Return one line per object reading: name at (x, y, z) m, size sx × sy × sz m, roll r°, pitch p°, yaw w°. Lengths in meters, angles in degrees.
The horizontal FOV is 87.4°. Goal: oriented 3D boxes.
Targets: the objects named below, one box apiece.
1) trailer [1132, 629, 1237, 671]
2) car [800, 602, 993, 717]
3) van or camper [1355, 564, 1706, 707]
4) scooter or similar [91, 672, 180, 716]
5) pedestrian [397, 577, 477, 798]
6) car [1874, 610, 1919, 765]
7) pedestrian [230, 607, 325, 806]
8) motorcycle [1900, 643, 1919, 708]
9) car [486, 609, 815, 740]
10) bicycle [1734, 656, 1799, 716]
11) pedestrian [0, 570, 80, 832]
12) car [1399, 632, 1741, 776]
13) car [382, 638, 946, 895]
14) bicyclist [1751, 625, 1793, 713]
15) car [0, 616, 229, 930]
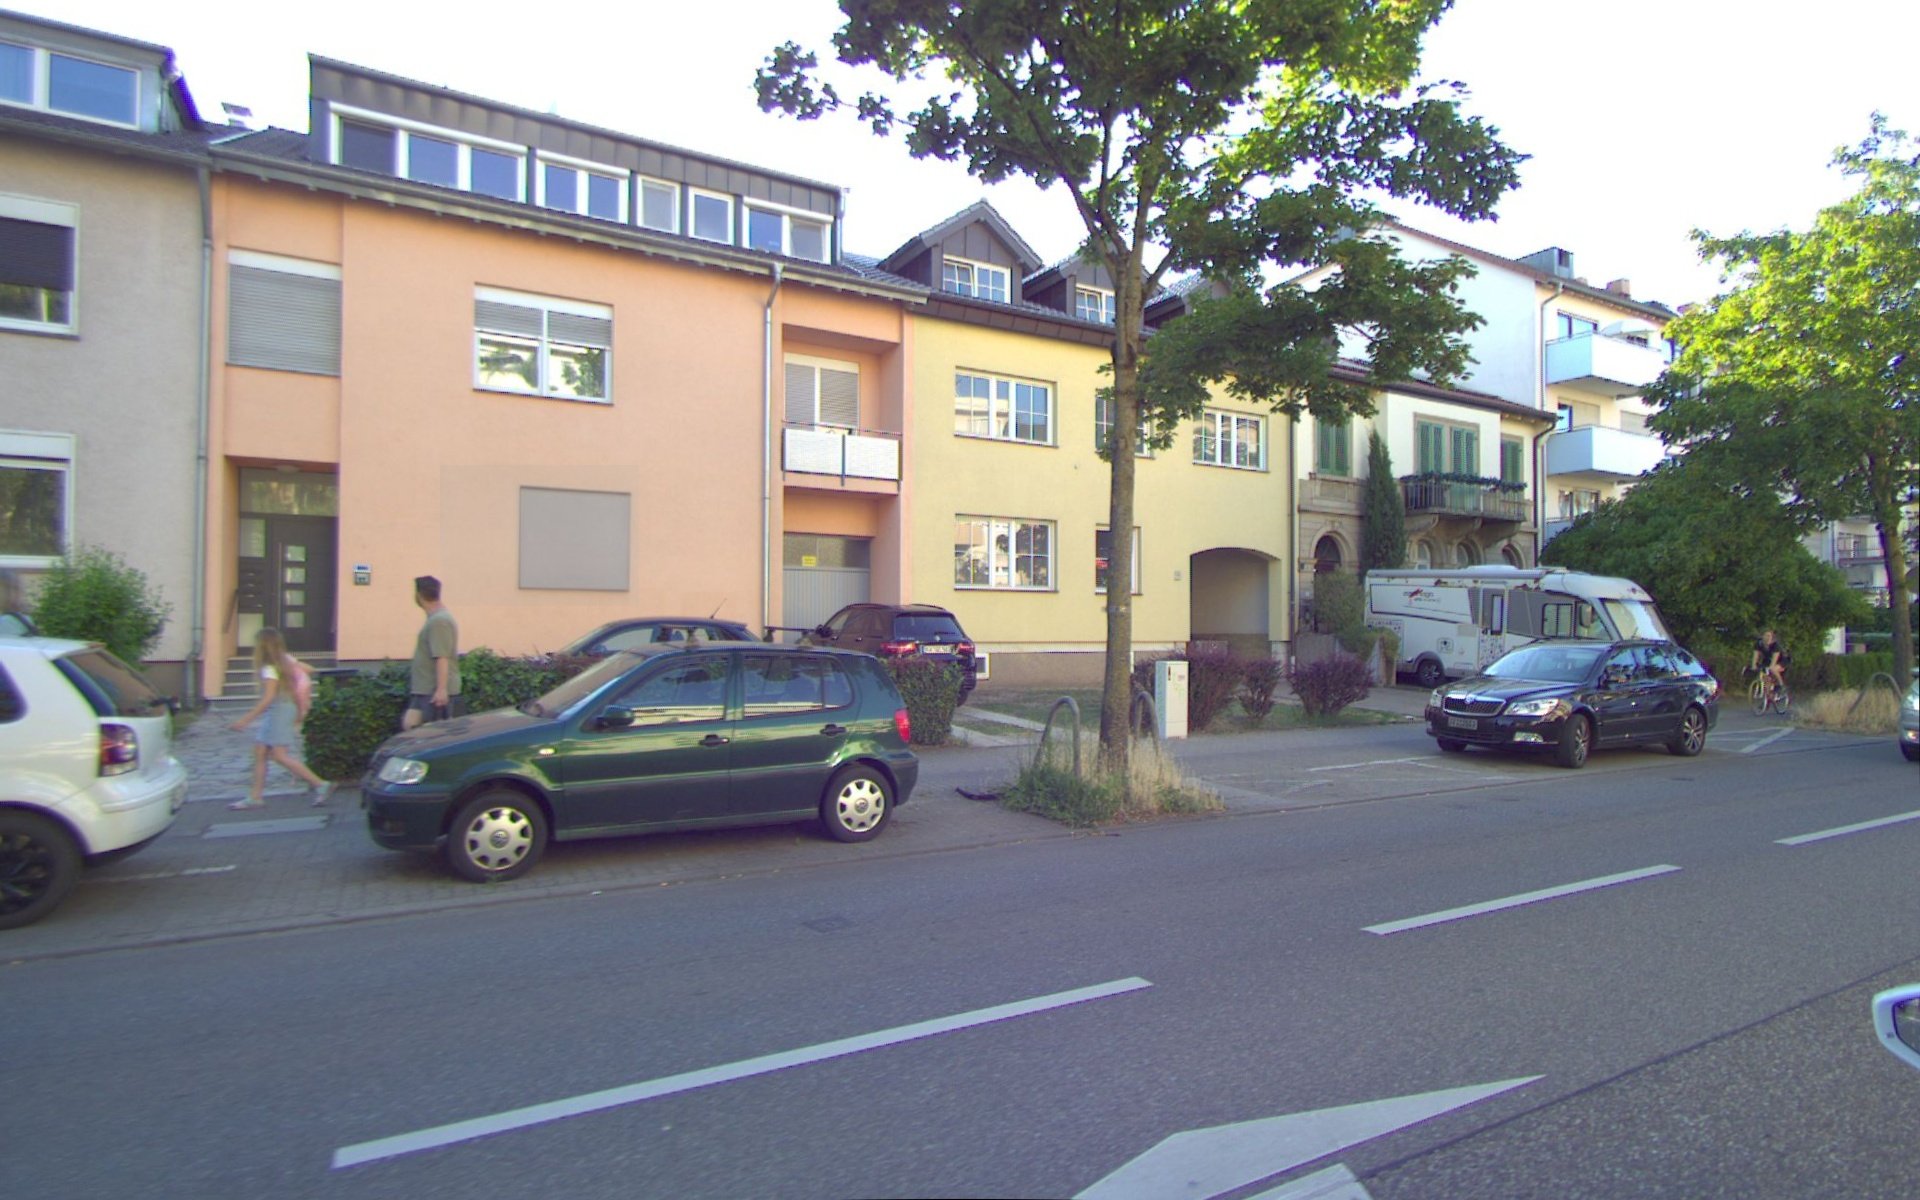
trailer at (6.124, 1.351, 27.573) m, size 1.608 × 0.973 × 2.393 m, roll 1°, pitch 1°, yaw -29°
car at (-1.230, 0.922, 17.360) m, size 1.843 × 1.658 × 3.970 m, roll 1°, pitch 0°, yaw -28°
van or camper at (12.741, 0.649, 23.166) m, size 2.324 × 2.810 × 6.764 m, roll 1°, pitch 1°, yaw -30°
scooter or similar at (-11.286, 1.283, 13.768) m, size 0.859 × 0.516 × 0.398 m, roll -2°, pitch 0°, yaw -29°
pedestrian at (-4.511, 0.731, 8.690) m, size 0.564 × 1.816 × 0.711 m, roll 1°, pitch -2°, yaw -27°
car at (13.609, 1.056, 12.620) m, size 4.690 × 1.828 × 1.797 m, roll 1°, pitch -3°, yaw -31°
pedestrian at (-5.465, 0.826, 8.070) m, size 0.535 × 1.515 × 0.588 m, roll 1°, pitch -2°, yaw -27°
motorcycle at (19.263, 1.476, 19.272) m, size 0.751 × 1.281 × 2.056 m, roll 0°, pitch -2°, yaw 9°
car at (-3.858, 0.877, 12.613) m, size 3.706 × 1.427 × 1.658 m, roll 1°, pitch -2°, yaw -29°
bicycle at (15.587, 1.644, 19.412) m, size 1.516 × 1.078 × 0.484 m, roll 1°, pitch -1°, yaw -31°
pedestrian at (-6.836, 0.706, 7.268) m, size 0.499 × 1.816 × 0.711 m, roll 1°, pitch -2°, yaw -27°
car at (7.949, 1.218, 13.010) m, size 4.463 × 1.514 × 1.859 m, roll 1°, pitch 0°, yaw -30°
car at (-2.043, 0.991, 7.216) m, size 3.623 × 1.415 × 1.536 m, roll 1°, pitch -2°, yaw -30°
bicyclist at (15.804, 1.334, 19.554) m, size 0.546 × 1.685 × 0.466 m, roll 1°, pitch -1°, yaw -30°
car at (-6.137, 0.841, 5.017) m, size 3.846 × 1.543 × 1.585 m, roll 1°, pitch -2°, yaw -31°
